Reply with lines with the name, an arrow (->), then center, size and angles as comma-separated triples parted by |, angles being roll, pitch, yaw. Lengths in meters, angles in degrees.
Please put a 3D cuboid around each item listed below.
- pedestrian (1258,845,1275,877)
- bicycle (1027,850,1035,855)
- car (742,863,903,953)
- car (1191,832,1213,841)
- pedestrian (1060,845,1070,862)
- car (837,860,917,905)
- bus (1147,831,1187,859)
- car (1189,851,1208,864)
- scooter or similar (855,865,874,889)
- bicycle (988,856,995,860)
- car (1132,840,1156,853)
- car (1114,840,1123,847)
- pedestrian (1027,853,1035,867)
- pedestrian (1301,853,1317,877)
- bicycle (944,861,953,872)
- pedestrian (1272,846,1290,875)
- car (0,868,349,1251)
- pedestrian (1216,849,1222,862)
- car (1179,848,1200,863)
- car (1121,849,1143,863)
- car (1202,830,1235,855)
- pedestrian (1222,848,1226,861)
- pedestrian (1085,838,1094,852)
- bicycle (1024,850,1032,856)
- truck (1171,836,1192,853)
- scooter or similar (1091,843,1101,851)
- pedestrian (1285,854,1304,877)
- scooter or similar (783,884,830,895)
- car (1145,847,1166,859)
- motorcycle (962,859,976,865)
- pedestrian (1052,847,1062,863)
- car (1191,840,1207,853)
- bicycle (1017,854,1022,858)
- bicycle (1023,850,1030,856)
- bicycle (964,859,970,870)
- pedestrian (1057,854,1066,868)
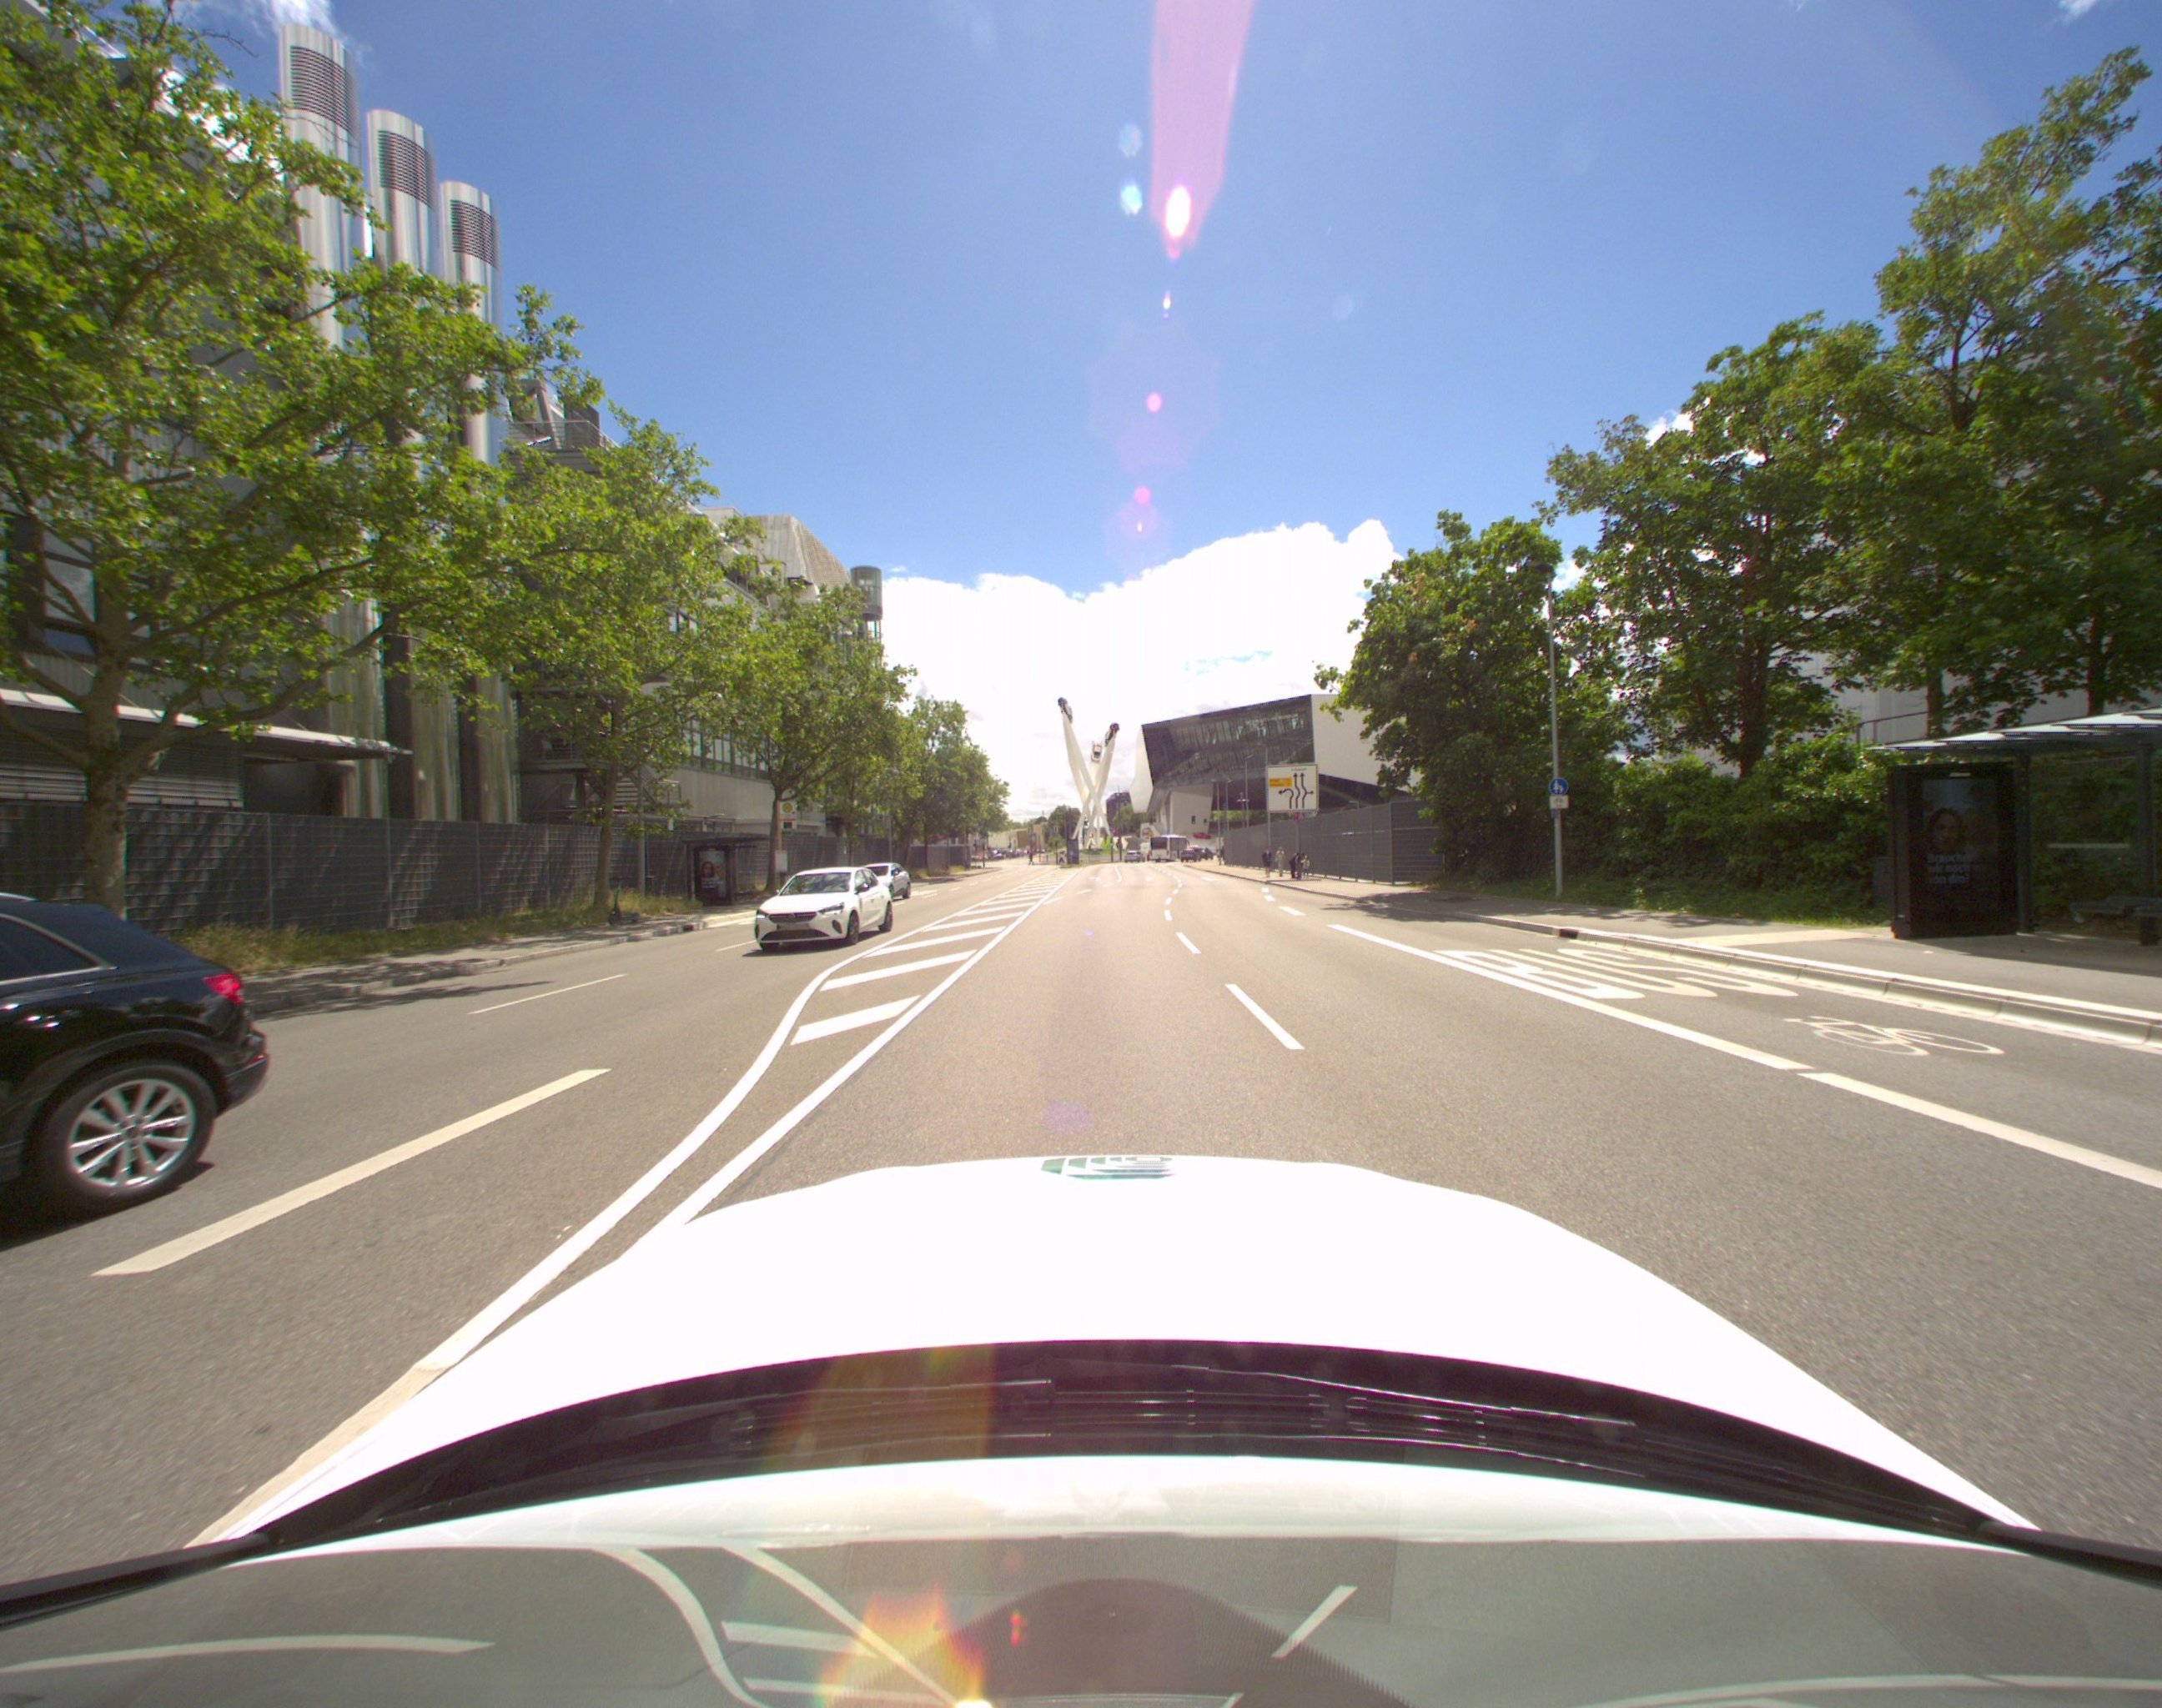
pedestrian -> 10.154, 0.379, 44.655 | 0.792, 1.721, 0.732 | 0, -1, 1
bicycle -> -11.047, -0.324, 180.759 | 1.731, 1.182, 0.670 | 0, 1, 0
car -> -4.945, 0.968, 16.219 | 1.685, 1.415, 4.147 | -3, 0, 2
car -> 25.907, -3.810, 174.778 | 2.011, 1.394, 4.460 | -6, 10, -41
pedestrian -> -2.017, -0.076, 102.002 | 0.944, 2.055, 0.956 | -1, -1, 20
car -> -7.970, 1.075, 32.220 | 1.870, 1.505, 4.194 | -3, 0, 3
bus -> 11.208, -0.992, 105.051 | 3.049, 3.362, 12.273 | -1, -1, 16
car -> 15.288, 0.458, 105.679 | 1.979, 1.636, 4.015 | -1, -1, 14
scooter or similar -> -11.584, 1.238, 43.608 | 0.520, 1.234, 1.321 | 2, 1, 8
bicycle -> -18.140, 0.867, 165.343 | 1.590, 0.866, 0.496 | -1, -1, 36
car -> 11.202, -1.328, 144.718 | 2.006, 2.171, 4.609 | 0, -1, -31
car -> 8.771, -2.422, 190.675 | 1.985, 1.635, 4.661 | 0, 2, 3
pedestrian -> -6.333, 0.793, 103.802 | 0.864, 1.774, 1.031 | 0, -1, -12
pedestrian -> 11.690, 0.554, 41.807 | 0.711, 1.207, 0.599 | 0, -1, 5
bicycle -> -12.017, 1.133, 73.940 | 0.294, 1.006, 1.256 | -1, -1, 12
pedestrian -> 10.989, 0.342, 44.727 | 0.792, 1.597, 0.732 | 0, -1, 1
car -> -5.444, 0.922, 2.843 | 1.733, 1.581, 4.269 | -4, 0, 2
pedestrian -> 17.089, 0.190, 100.613 | 0.655, 1.608, 0.826 | -1, -1, 13
car -> 13.280, 0.190, 99.440 | 1.979, 1.636, 4.016 | -1, 2, 14
car -> 6.381, 0.250, 101.107 | 1.979, 1.636, 4.015 | -1, -1, 14
car -> 21.180, -1.717, 124.854 | 3.307, 3.504, 9.388 | -1, -1, 20
pedestrian -> 18.095, 0.023, 103.003 | 0.461, 1.616, 0.664 | 0, -1, 4
pedestrian -> 1.257, -1.325, 121.074 | 1.276, 1.816, 0.988 | -4, 4, 3
bicycle -> -11.284, -0.188, 173.030 | 1.600, 1.382, 0.493 | 0, -1, 1
truck -> 15.491, -1.456, 125.414 | 2.189, 2.516, 5.157 | -1, -1, 19
scooter or similar -> 2.188, -1.030, 121.287 | 1.395, 1.025, 0.550 | -3, 6, 2
pedestrian -> 10.901, 0.596, 41.597 | 0.754, 1.148, 0.973 | 0, -1, 5
scooter or similar -> -12.472, 1.622, 37.018 | 1.347, 0.380, 1.499 | 2, 1, 37
car -> 10.465, -0.062, 114.707 | 1.977, 1.636, 4.020 | -1, -1, 20
motorcycle -> -23.828, 1.768, 172.676 | 2.879, 1.196, 0.925 | -1, -1, 20
pedestrian -> -3.011, 0.142, 102.724 | 0.944, 2.055, 0.956 | -1, -1, 20
car -> 18.642, -1.223, 128.344 | 1.979, 1.932, 4.257 | -1, -1, 14
bicycle -> -12.702, 0.442, 168.928 | 0.488, 0.866, 1.617 | -2, 2, 13
bicycle -> -11.474, -0.143, 171.588 | 1.600, 1.316, 0.493 | 0, -1, 1
bicycle -> -11.241, 1.031, 80.359 | 0.295, 1.131, 1.487 | 0, -1, 5
pedestrian -> -2.423, 0.841, 100.141 | 0.864, 1.774, 1.031 | 0, -1, -12
